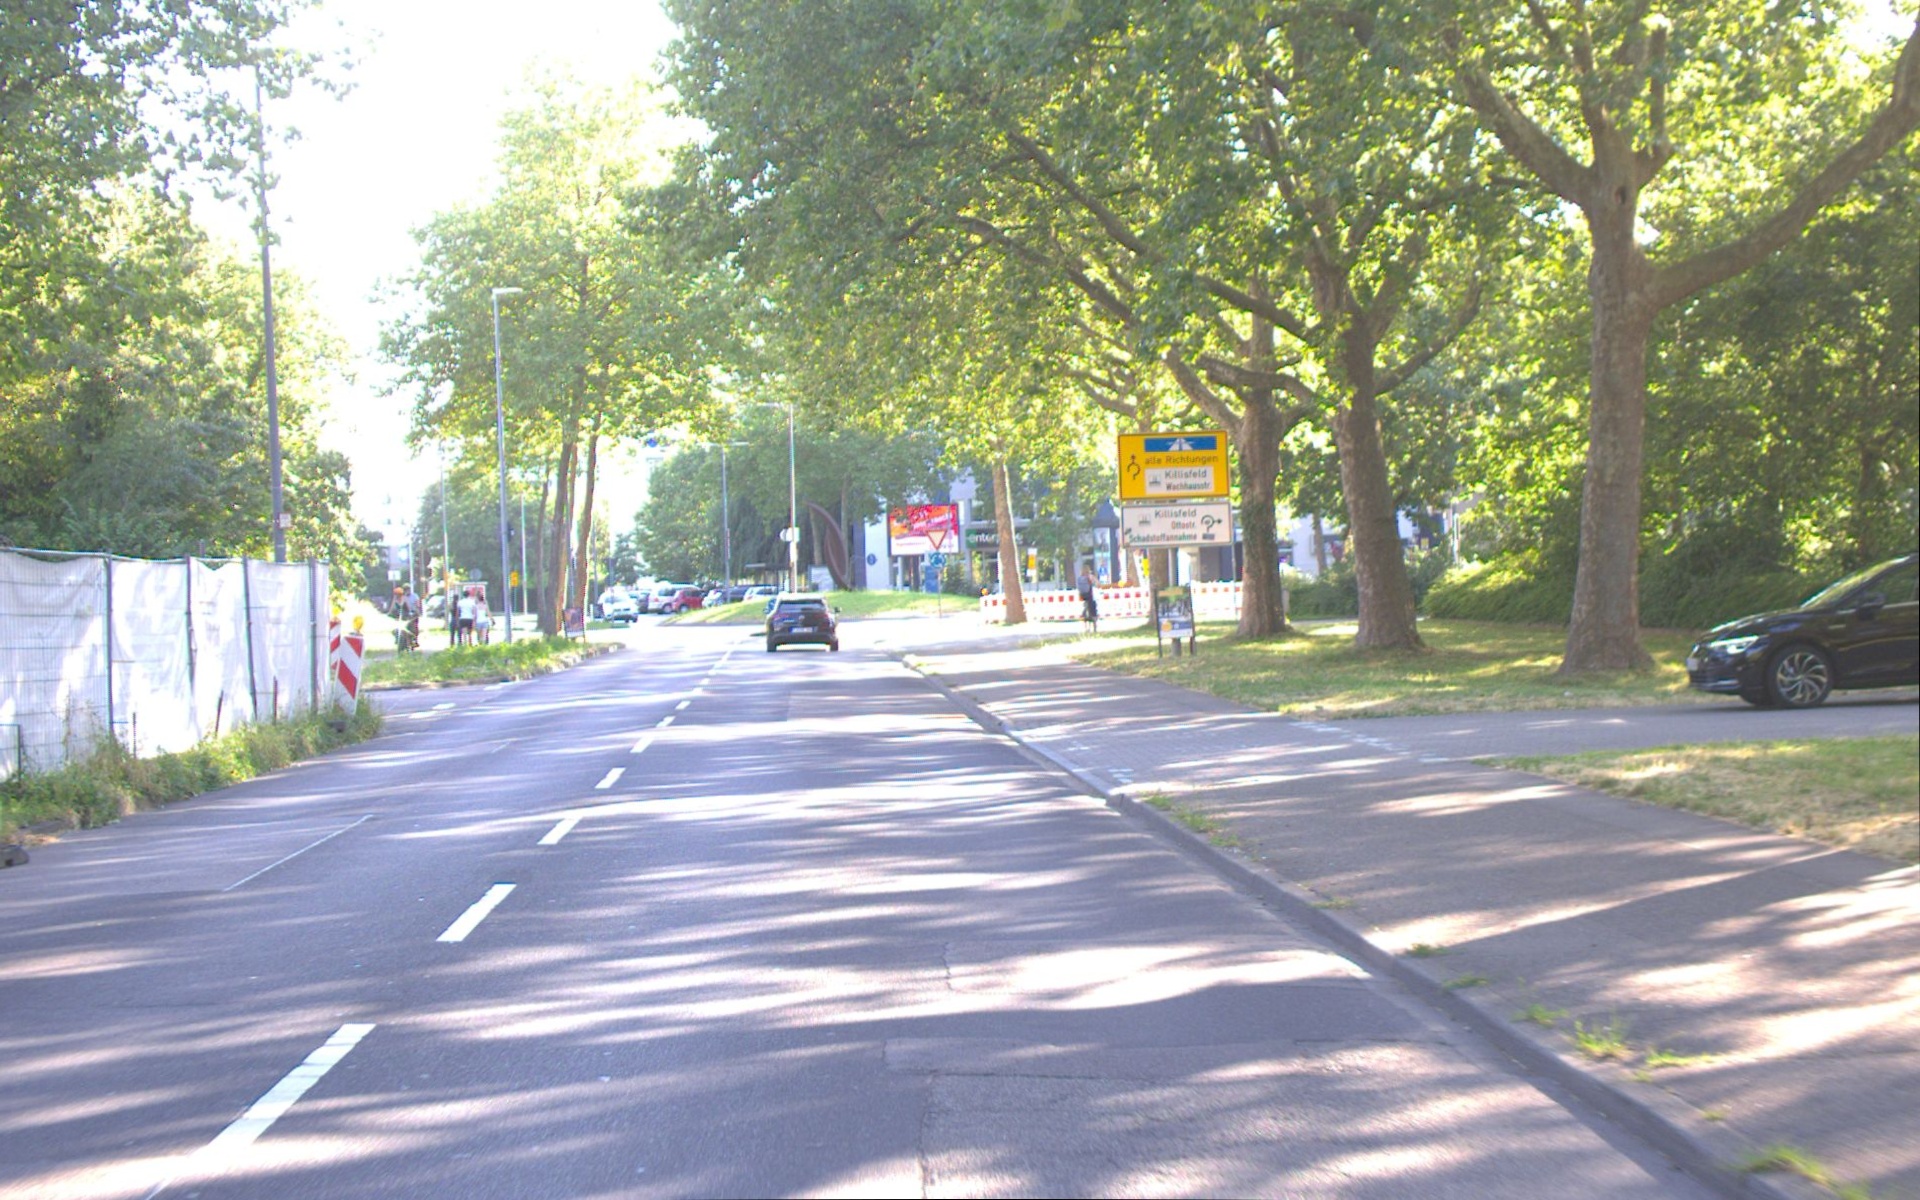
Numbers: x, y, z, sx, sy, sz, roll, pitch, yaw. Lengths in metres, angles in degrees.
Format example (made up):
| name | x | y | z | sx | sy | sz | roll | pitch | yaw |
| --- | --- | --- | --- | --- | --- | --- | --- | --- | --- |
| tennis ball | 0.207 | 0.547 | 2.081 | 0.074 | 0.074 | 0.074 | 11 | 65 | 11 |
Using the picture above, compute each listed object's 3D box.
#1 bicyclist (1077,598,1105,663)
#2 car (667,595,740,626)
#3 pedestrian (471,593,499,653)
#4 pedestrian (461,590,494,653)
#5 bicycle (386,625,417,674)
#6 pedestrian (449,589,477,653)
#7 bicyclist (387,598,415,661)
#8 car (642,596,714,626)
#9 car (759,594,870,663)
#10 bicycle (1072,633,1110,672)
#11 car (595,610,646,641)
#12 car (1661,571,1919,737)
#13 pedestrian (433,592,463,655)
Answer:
| name | x | y | z | sx | sy | sz | roll | pitch | yaw |
| --- | --- | --- | --- | --- | --- | --- | --- | --- | --- |
| bicyclist | 3.498 | 0.807 | 91.669 | 0.651 | 1.699 | 0.871 | -1 | 1 | -2 |
| car | -15.461 | 0.639 | 207.588 | 3.987 | 1.741 | 1.795 | -1 | 1 | -32 |
| pedestrian | -13.158 | 0.632 | 95.261 | 0.632 | 1.632 | 0.576 | -2 | 0 | -2 |
| pedestrian | -13.533 | 0.606 | 96.451 | 0.748 | 1.733 | 0.852 | -2 | 0 | -1 |
| bicycle | -15.374 | 1.366 | 94.726 | 0.579 | 1.241 | 2.108 | -3 | 2 | -4 |
| pedestrian | -13.823 | 0.583 | 95.683 | 0.632 | 1.733 | 0.664 | -2 | 0 | -1 |
| bicyclist | -15.402 | 0.822 | 94.740 | 0.579 | 1.673 | 0.971 | -3 | 2 | -4 |
| car | -17.277 | 0.668 | 210.327 | 3.987 | 1.741 | 1.795 | -1 | 1 | -32 |
| car | -3.628 | 0.698 | 86.537 | 1.840 | 1.600 | 3.861 | -2 | 0 | 12 |
| bicycle | 3.490 | 1.384 | 91.574 | 0.770 | 0.961 | 2.174 | -4 | 0 | -3 |
| car | -18.591 | 1.371 | 188.160 | 1.993 | 1.573 | 4.001 | -2 | 1 | -16 |
| car | 9.042 | 0.473 | 33.539 | 3.987 | 1.438 | 1.760 | -3 | 1 | 1 |
| pedestrian | -14.360 | 0.655 | 96.414 | 0.665 | 1.733 | 0.751 | -2 | 0 | -1 |
